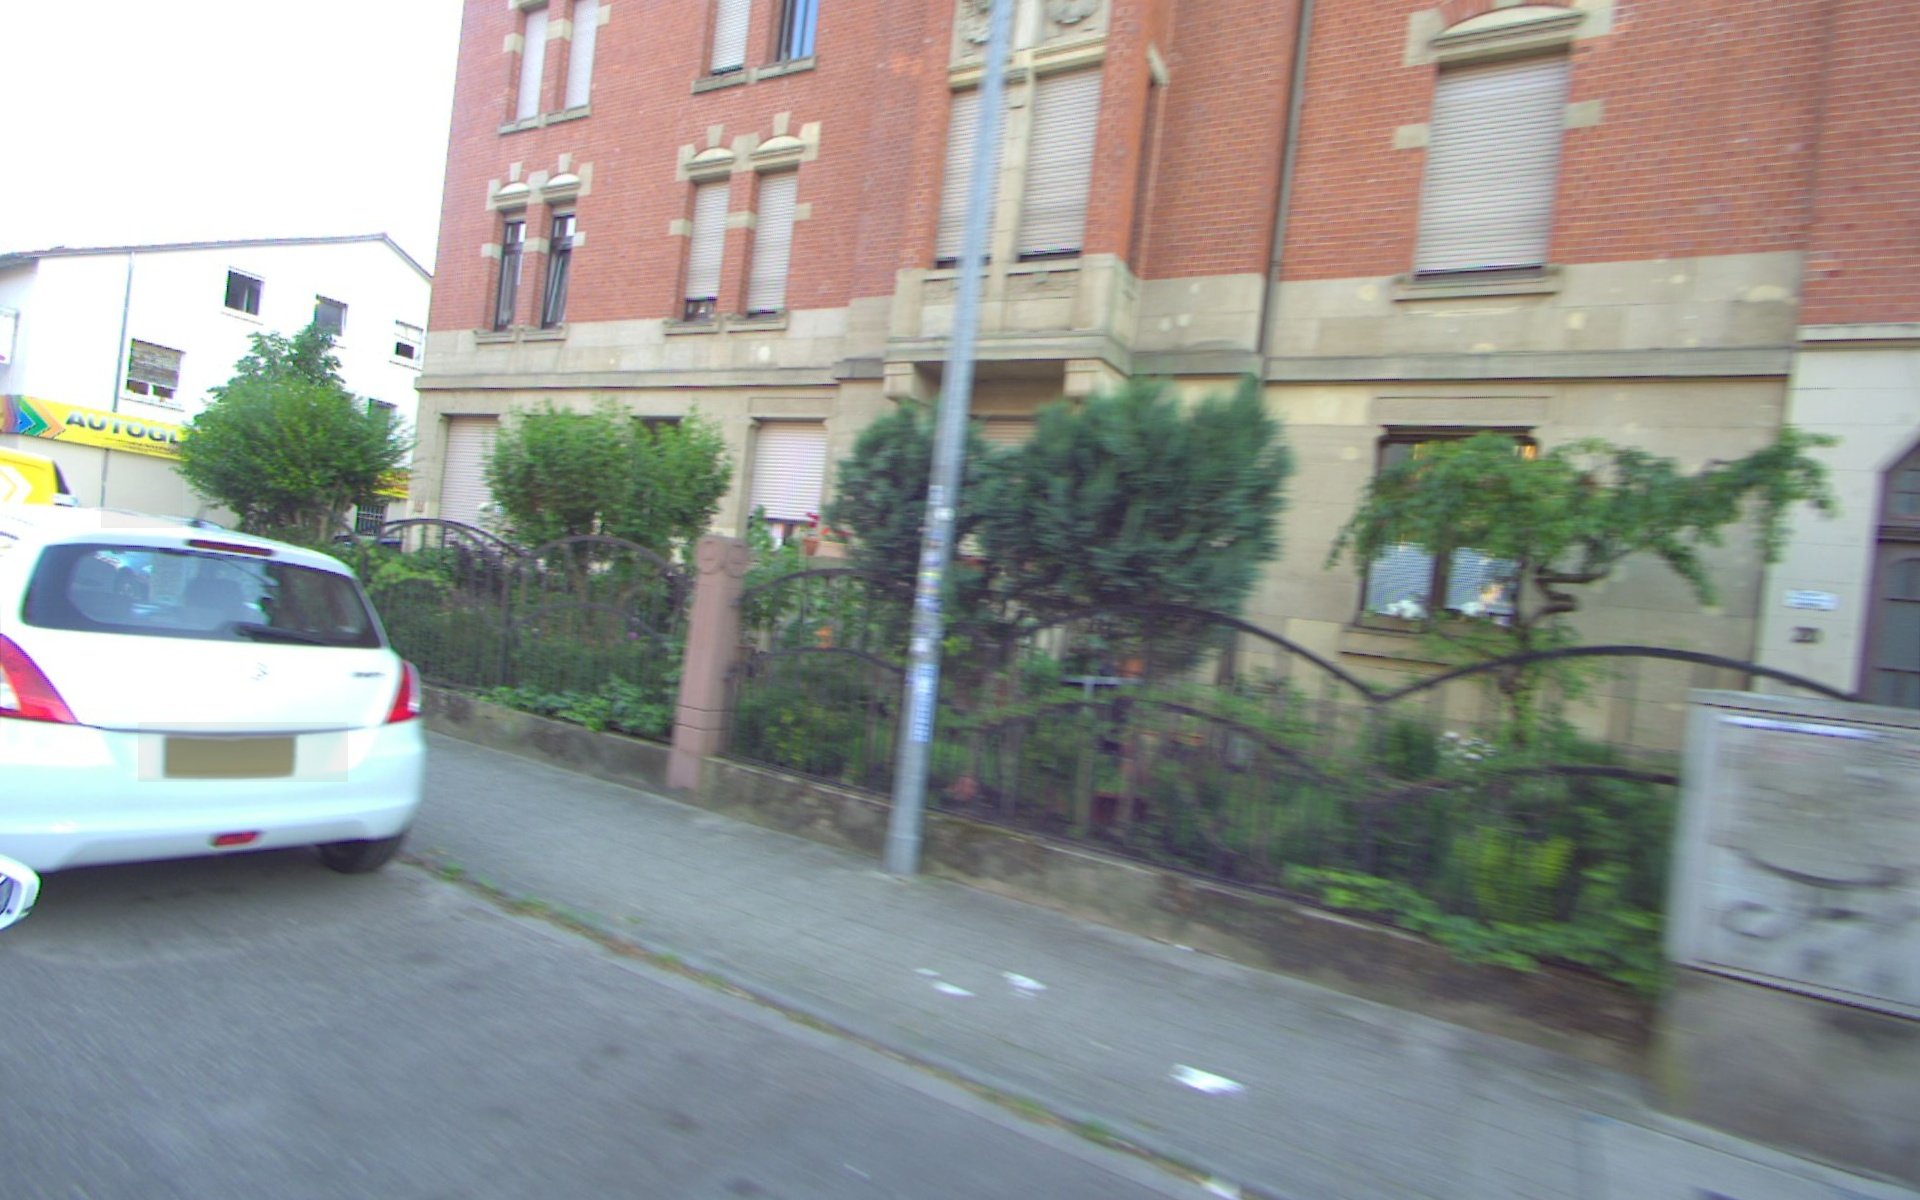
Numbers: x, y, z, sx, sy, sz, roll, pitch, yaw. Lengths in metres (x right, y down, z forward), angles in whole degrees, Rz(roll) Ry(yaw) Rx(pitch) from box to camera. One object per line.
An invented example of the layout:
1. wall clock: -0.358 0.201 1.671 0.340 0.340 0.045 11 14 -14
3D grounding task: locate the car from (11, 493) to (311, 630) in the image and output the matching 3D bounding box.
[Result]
1. car: -11.178 -0.557 14.011 4.348 1.442 1.728 6 1 30

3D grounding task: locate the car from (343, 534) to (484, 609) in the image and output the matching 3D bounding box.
1. car: -18.102 -0.958 33.291 4.499 1.854 1.875 8 0 30

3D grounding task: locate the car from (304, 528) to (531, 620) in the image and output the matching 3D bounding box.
1. car: -12.660 -0.548 23.789 1.847 1.692 4.327 5 -2 29

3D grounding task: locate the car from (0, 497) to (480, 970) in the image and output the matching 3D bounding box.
1. car: -4.218 0.318 4.763 3.799 1.494 1.677 6 -1 33

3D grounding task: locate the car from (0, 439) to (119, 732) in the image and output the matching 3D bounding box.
1. car: -8.606 -0.363 7.491 4.996 1.906 1.897 7 -1 30
